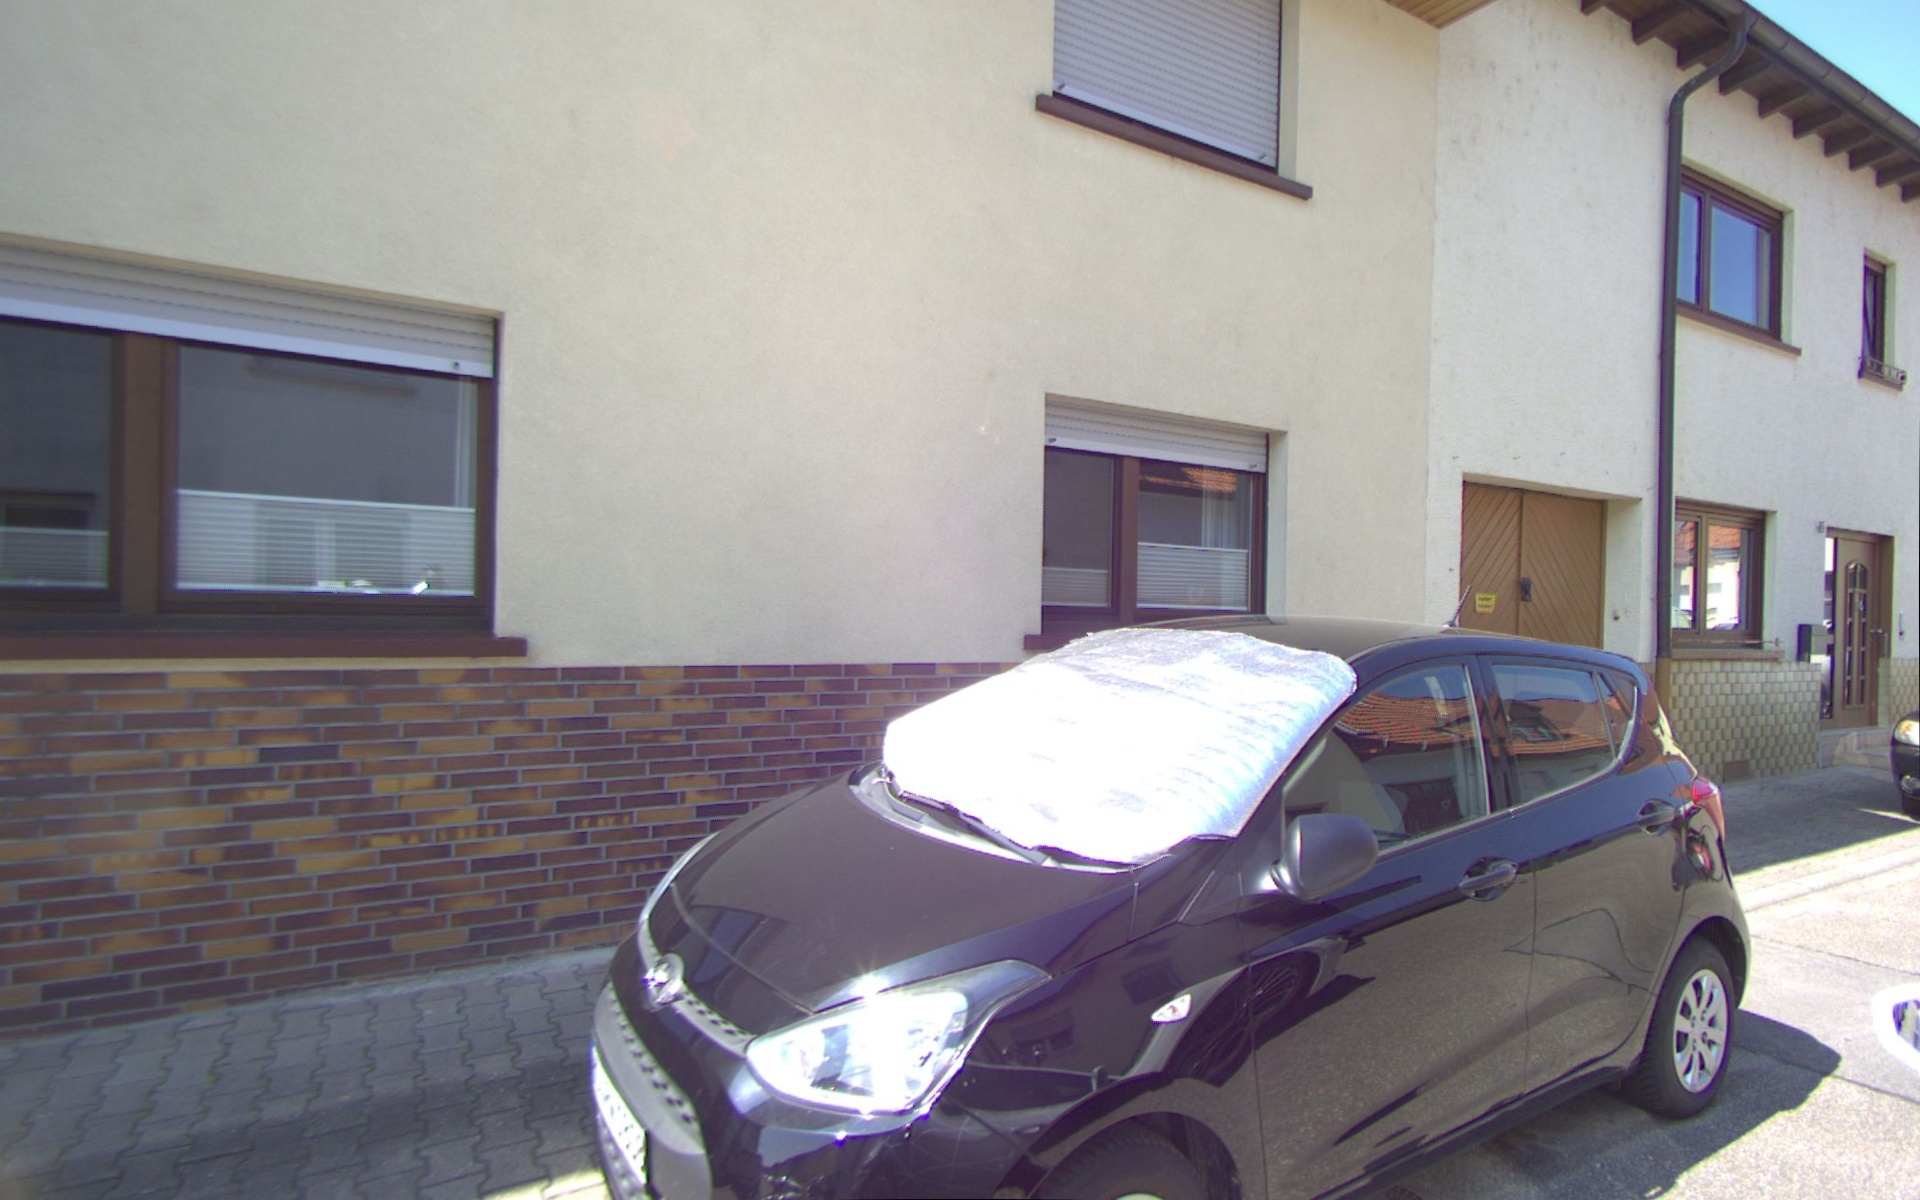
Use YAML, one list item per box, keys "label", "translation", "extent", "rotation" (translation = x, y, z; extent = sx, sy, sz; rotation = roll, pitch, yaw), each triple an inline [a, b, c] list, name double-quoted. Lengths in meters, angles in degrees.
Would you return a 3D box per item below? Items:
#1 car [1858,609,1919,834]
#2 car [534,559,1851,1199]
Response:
- label: "car"
  translation: [8.952, 0.925, 7.834]
  extent: [3.940, 1.636, 1.715]
  rotation: [2, -2, -29]
- label: "car"
  translation: [0.929, 0.787, 3.058]
  extent: [3.898, 1.558, 1.631]
  rotation: [2, -2, -32]
